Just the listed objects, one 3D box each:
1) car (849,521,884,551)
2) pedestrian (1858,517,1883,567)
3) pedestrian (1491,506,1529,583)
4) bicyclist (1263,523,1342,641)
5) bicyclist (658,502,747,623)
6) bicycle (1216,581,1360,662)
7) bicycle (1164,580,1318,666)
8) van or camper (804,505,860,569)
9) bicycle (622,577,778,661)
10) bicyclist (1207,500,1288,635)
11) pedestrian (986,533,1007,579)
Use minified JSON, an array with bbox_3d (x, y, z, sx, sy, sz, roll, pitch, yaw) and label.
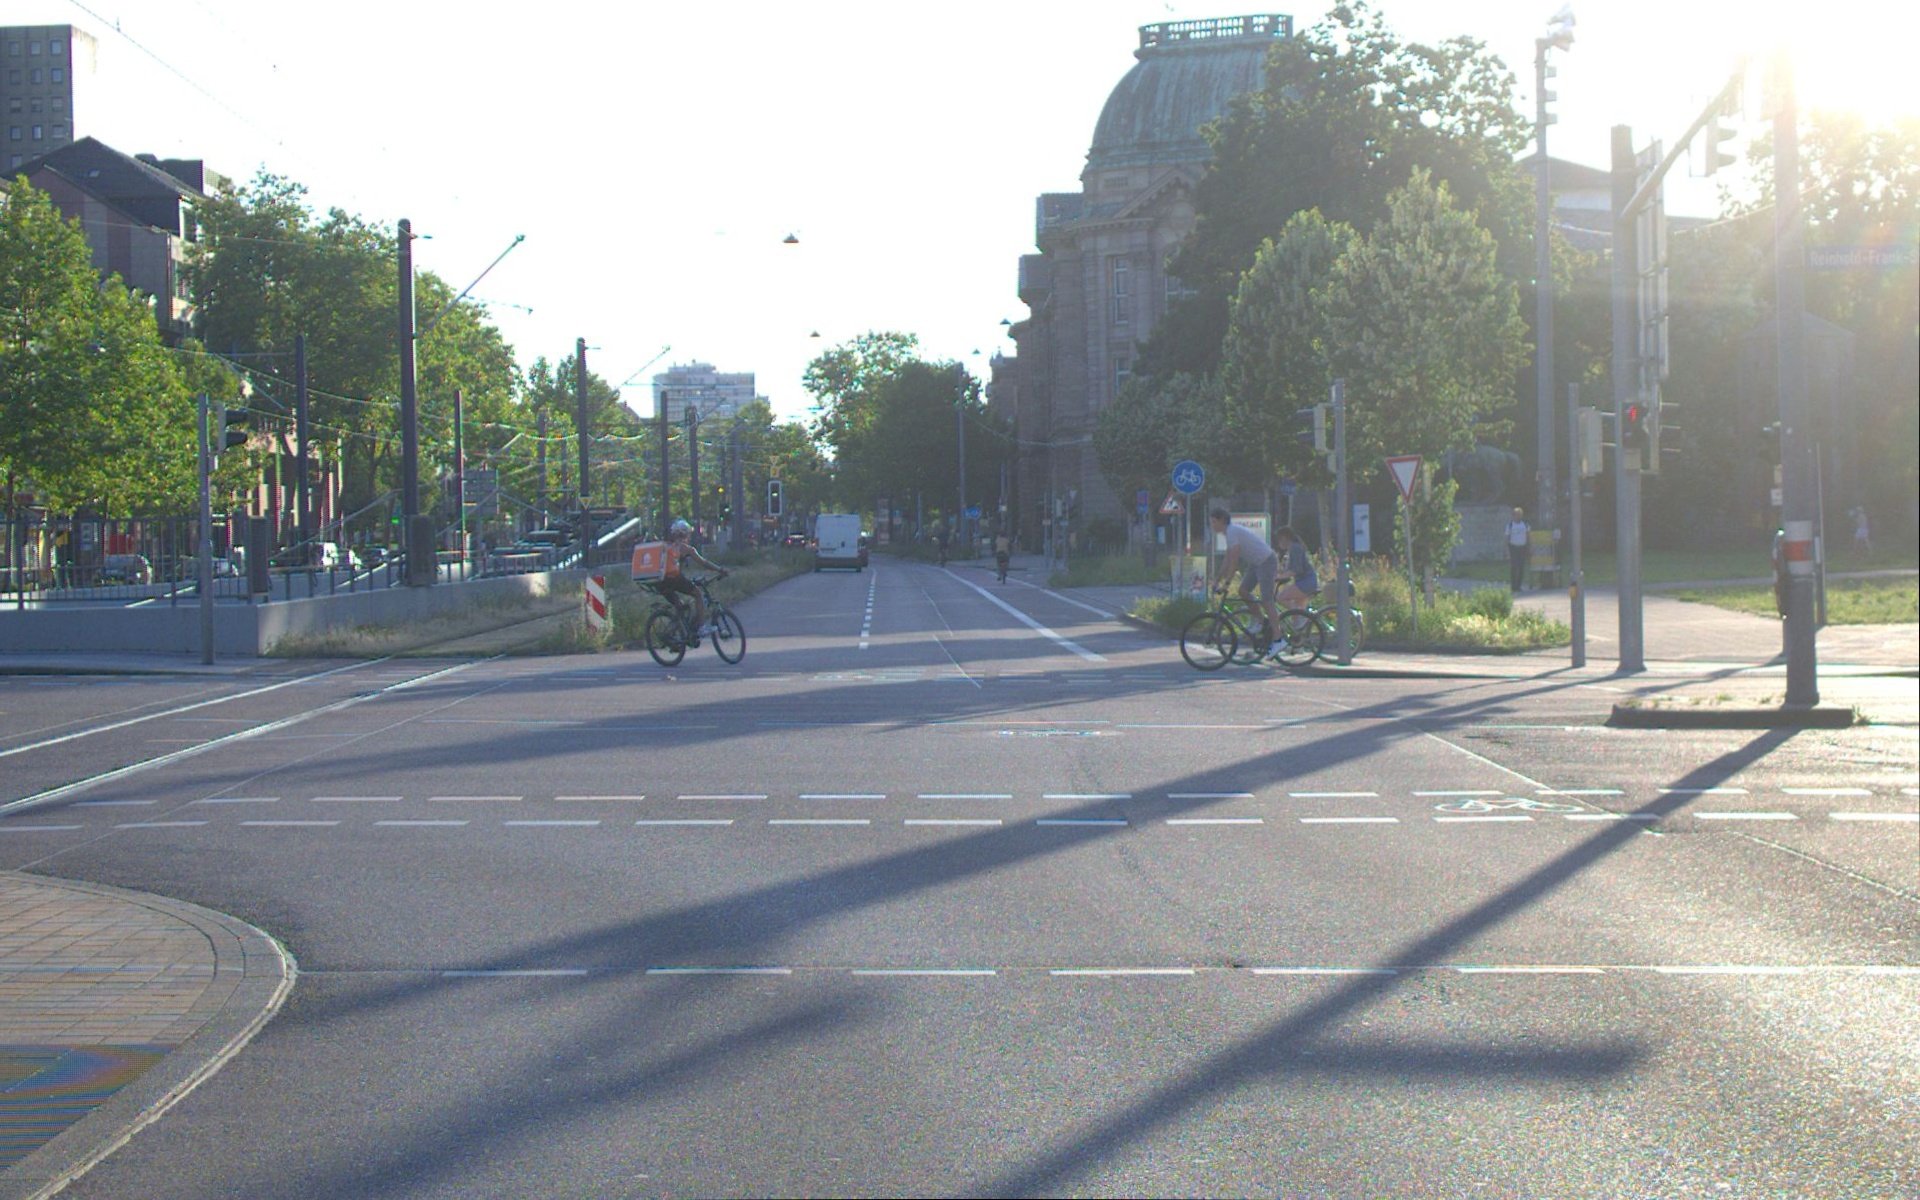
[{"bbox_3d":[-4.807,-3.291,176.864,1.737,1.381,4.001,-1,2,-1],"label":"car"},{"bbox_3d":[31.434,-2.008,118.679,0.798,1.696,0.800,0,1,14],"label":"pedestrian"},{"bbox_3d":[11.607,-1.173,72.529,0.682,1.605,0.613,-1,2,-1],"label":"pedestrian"},{"bbox_3d":[4.297,-0.233,43.142,0.853,1.437,0.663,-1,2,-5],"label":"bicyclist"},{"bbox_3d":[-3.123,-0.462,41.662,0.853,1.437,0.663,0,2,-32],"label":"bicyclist"},{"bbox_3d":[4.109,0.265,43.136,1.718,0.966,0.609,-1,2,-6],"label":"bicycle"},{"bbox_3d":[3.343,0.267,40.983,1.728,0.966,0.610,-1,2,-9],"label":"bicycle"},{"bbox_3d":[-5.568,-2.779,149.838,2.263,2.616,4.503,-1,2,0],"label":"van or camper"},{"bbox_3d":[-3.149,0.228,41.687,1.728,0.966,0.704,0,3,-32],"label":"bicycle"},{"bbox_3d":[3.422,-0.395,40.978,0.797,1.566,0.663,-2,2,-9],"label":"bicyclist"},{"bbox_3d":[1.199,-1.427,111.344,0.616,1.470,0.800,-1,2,3],"label":"pedestrian"}]
